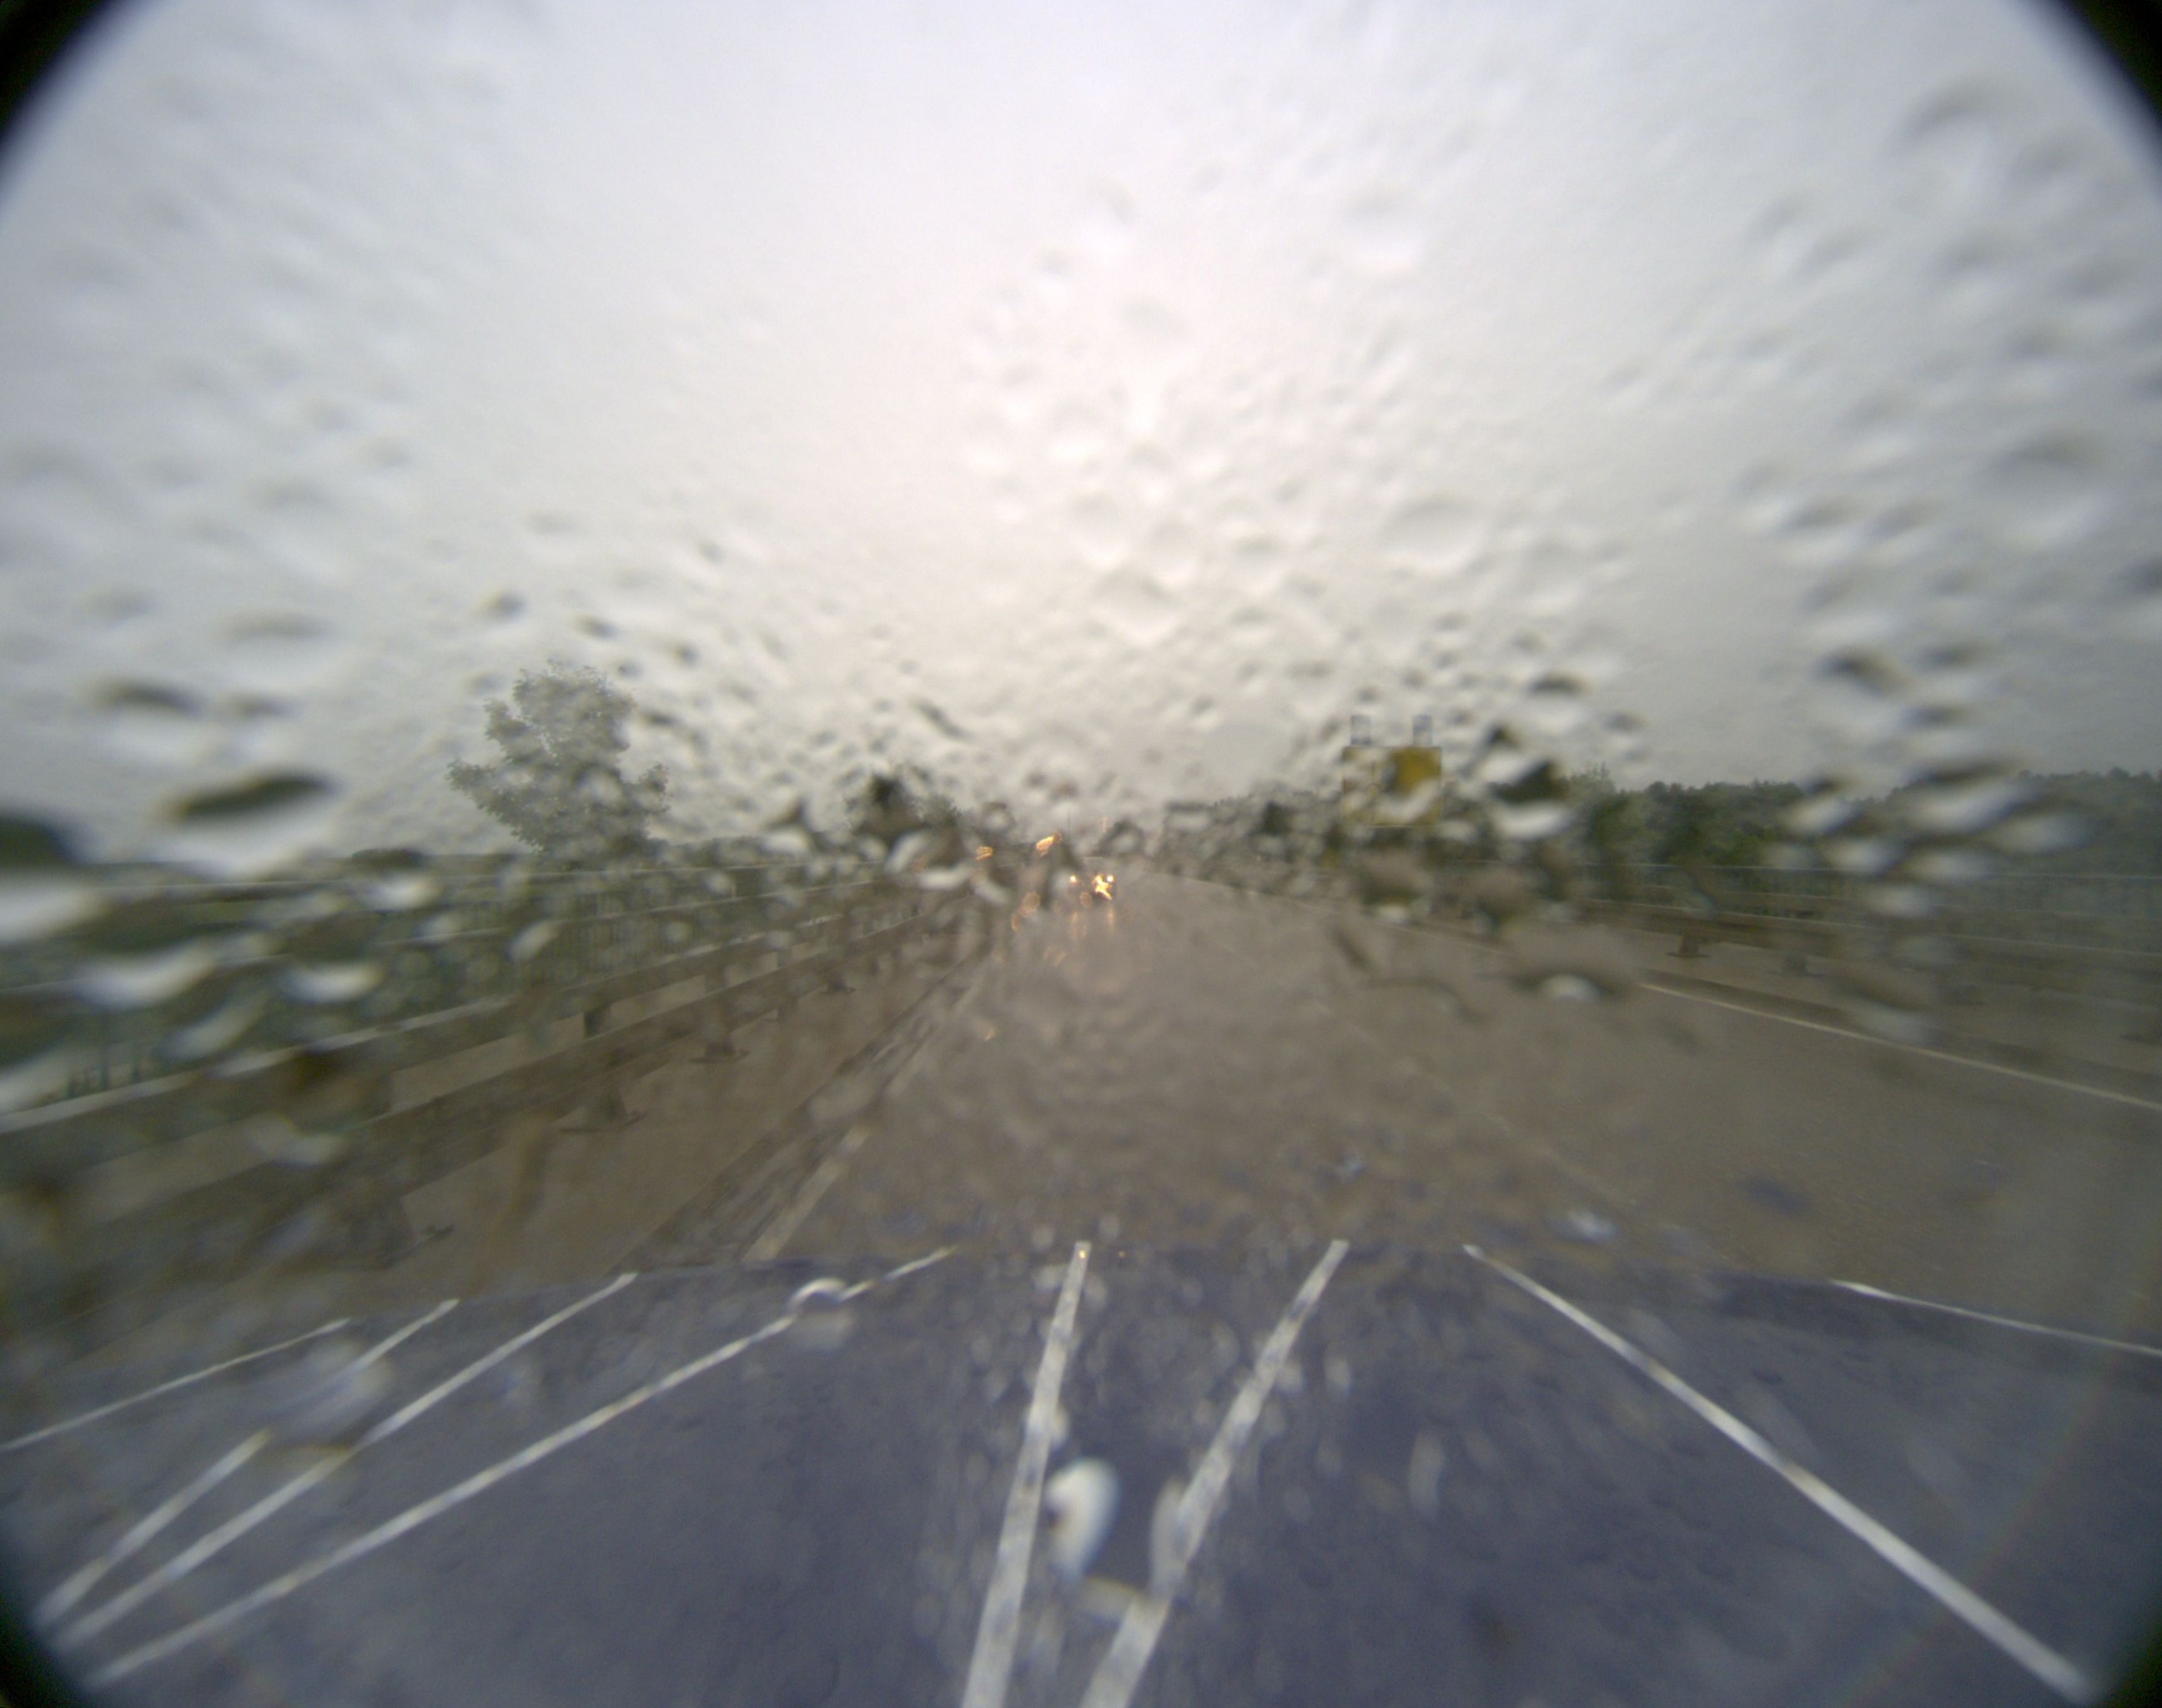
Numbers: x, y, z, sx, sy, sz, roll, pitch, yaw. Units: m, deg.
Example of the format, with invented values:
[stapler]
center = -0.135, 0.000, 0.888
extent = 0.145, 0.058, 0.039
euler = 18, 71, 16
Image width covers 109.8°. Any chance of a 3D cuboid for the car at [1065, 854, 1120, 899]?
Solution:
[car]
center = 0.420, 0.774, 28.129
extent = 1.819, 1.382, 4.068
euler = -3, 1, 0
